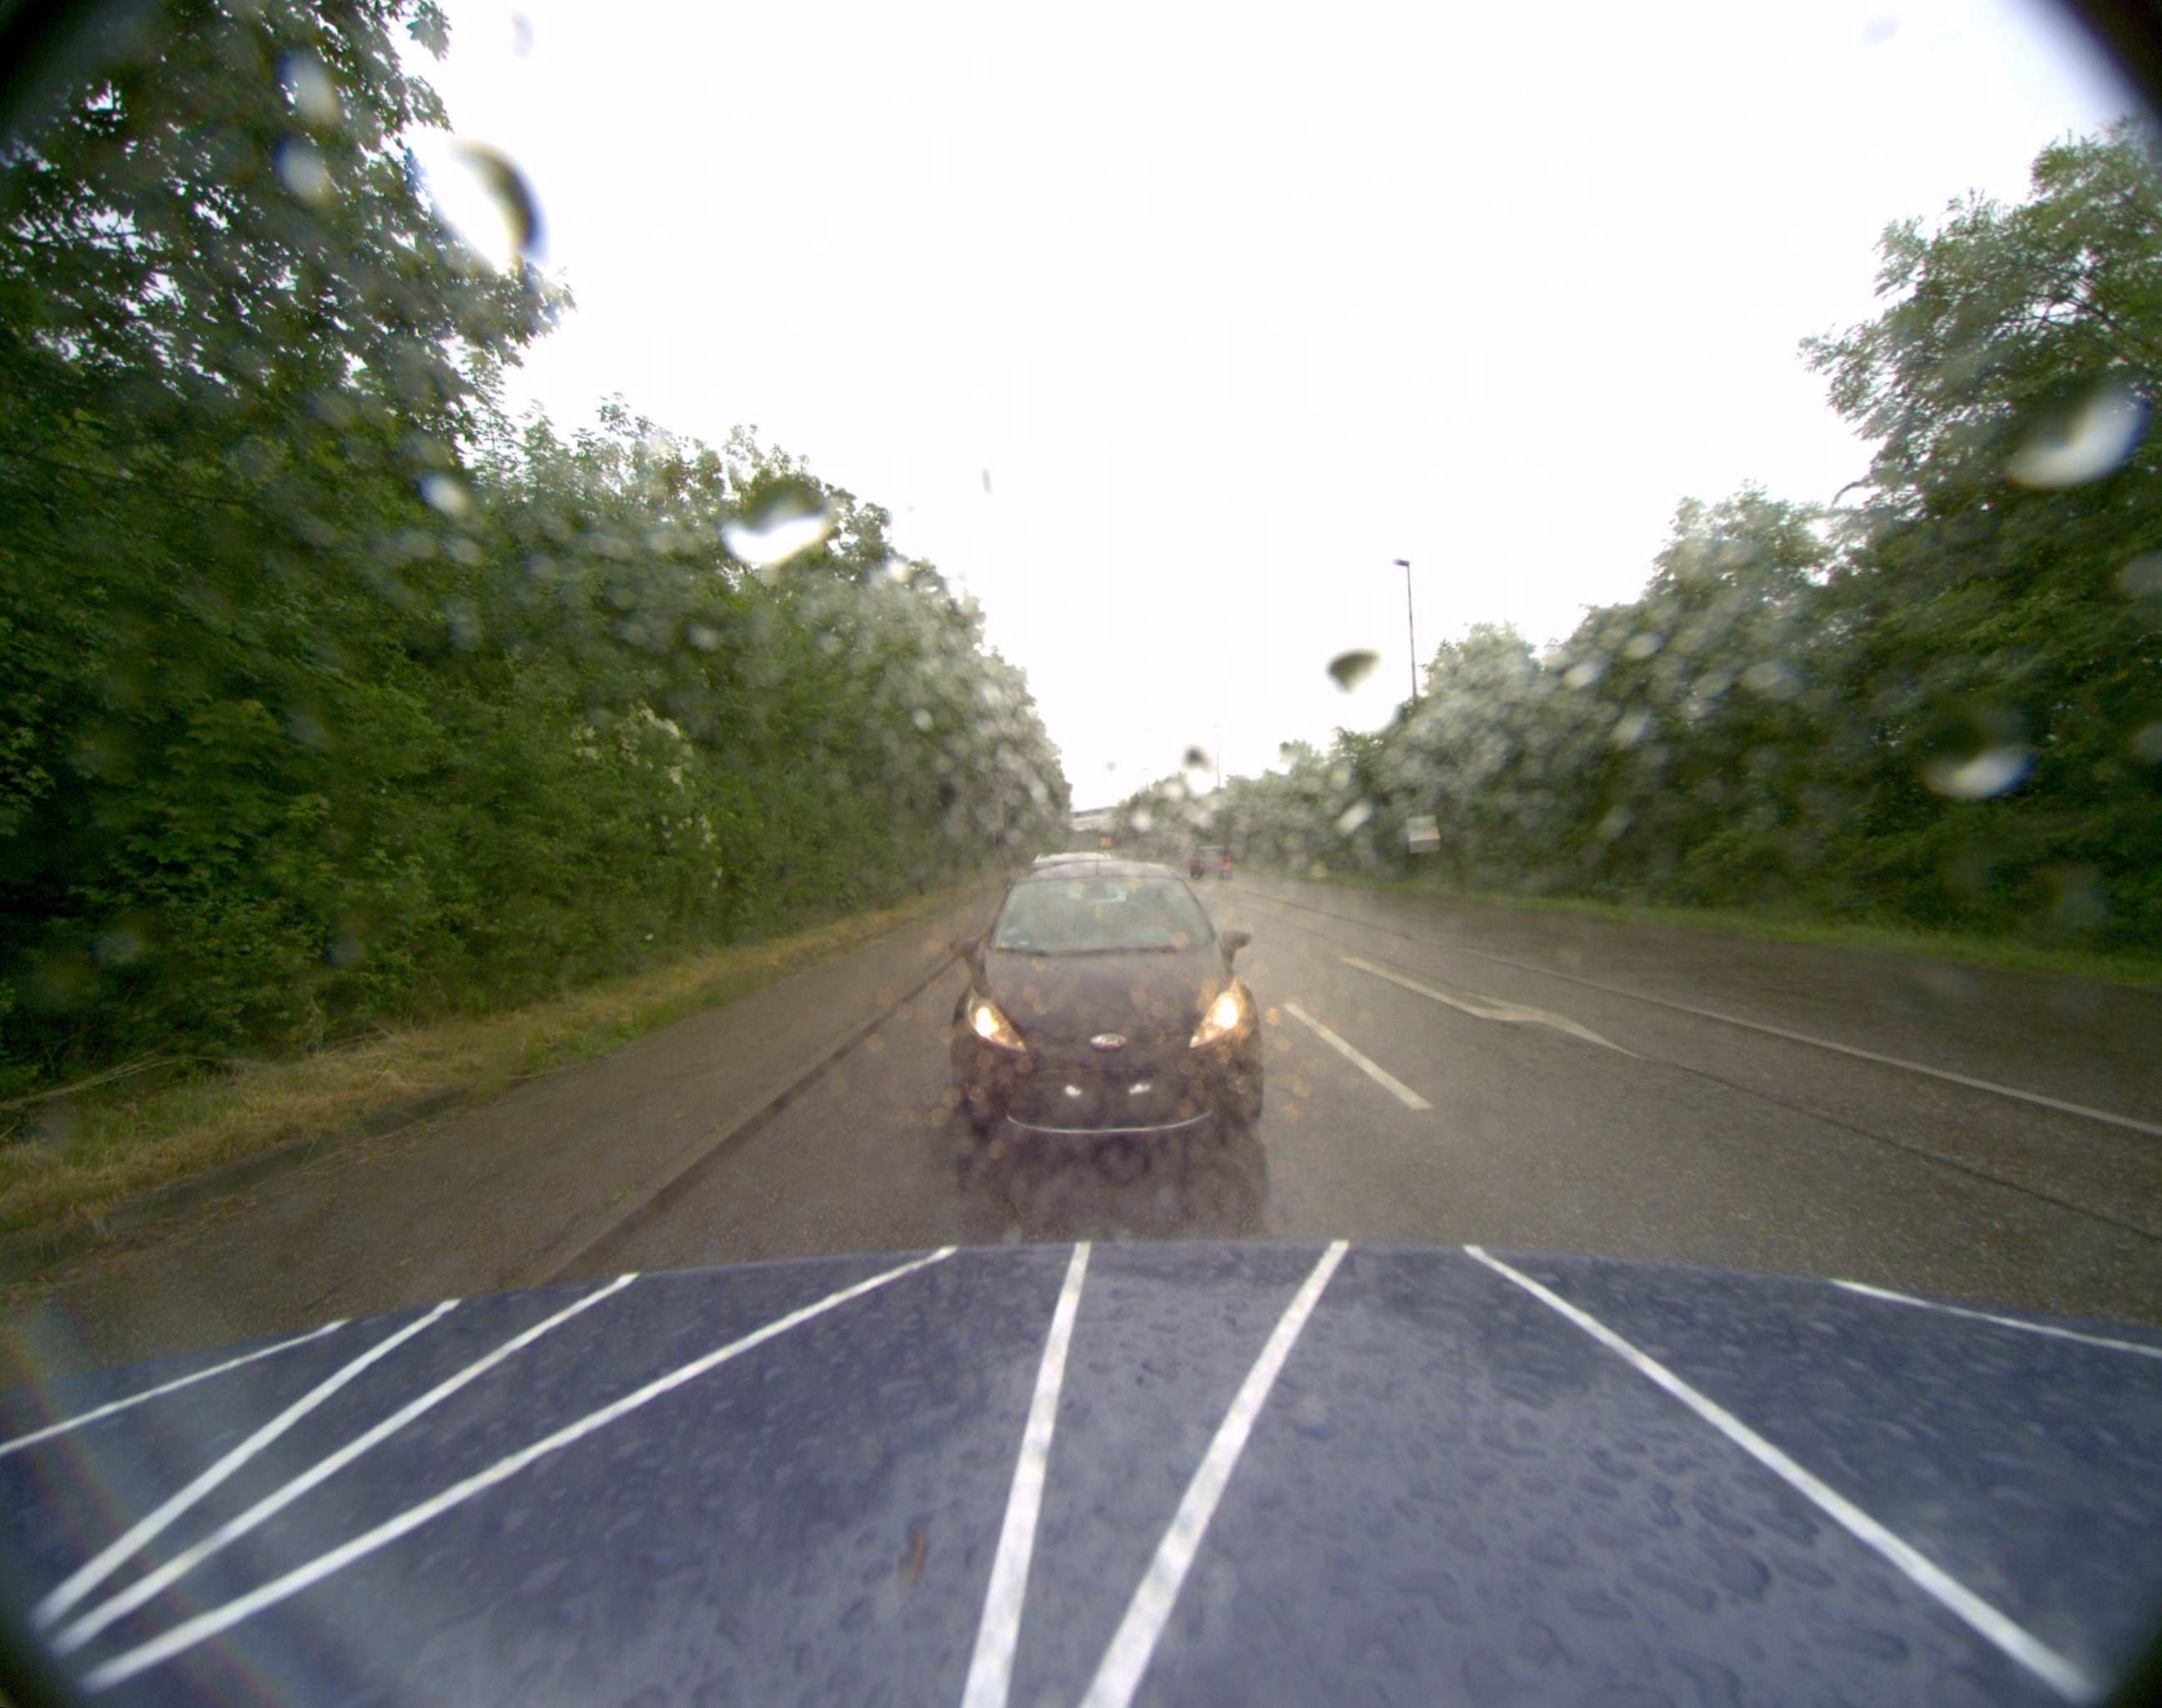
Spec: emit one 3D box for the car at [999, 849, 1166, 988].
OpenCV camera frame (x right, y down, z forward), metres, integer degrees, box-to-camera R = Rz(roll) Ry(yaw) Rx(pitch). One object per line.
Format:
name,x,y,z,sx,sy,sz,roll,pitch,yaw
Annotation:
car,0.043,0.786,11.318,1.998,1.576,3.999,-2,1,1

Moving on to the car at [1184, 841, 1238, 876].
car,6.408,0.182,37.775,1.998,1.576,3.999,-2,1,1

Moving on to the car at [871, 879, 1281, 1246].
car,0.006,1.038,5.666,1.839,1.404,4.341,-2,1,1

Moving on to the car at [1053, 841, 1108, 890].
car,-0.008,0.424,30.232,1.998,1.778,4.000,-2,0,0
